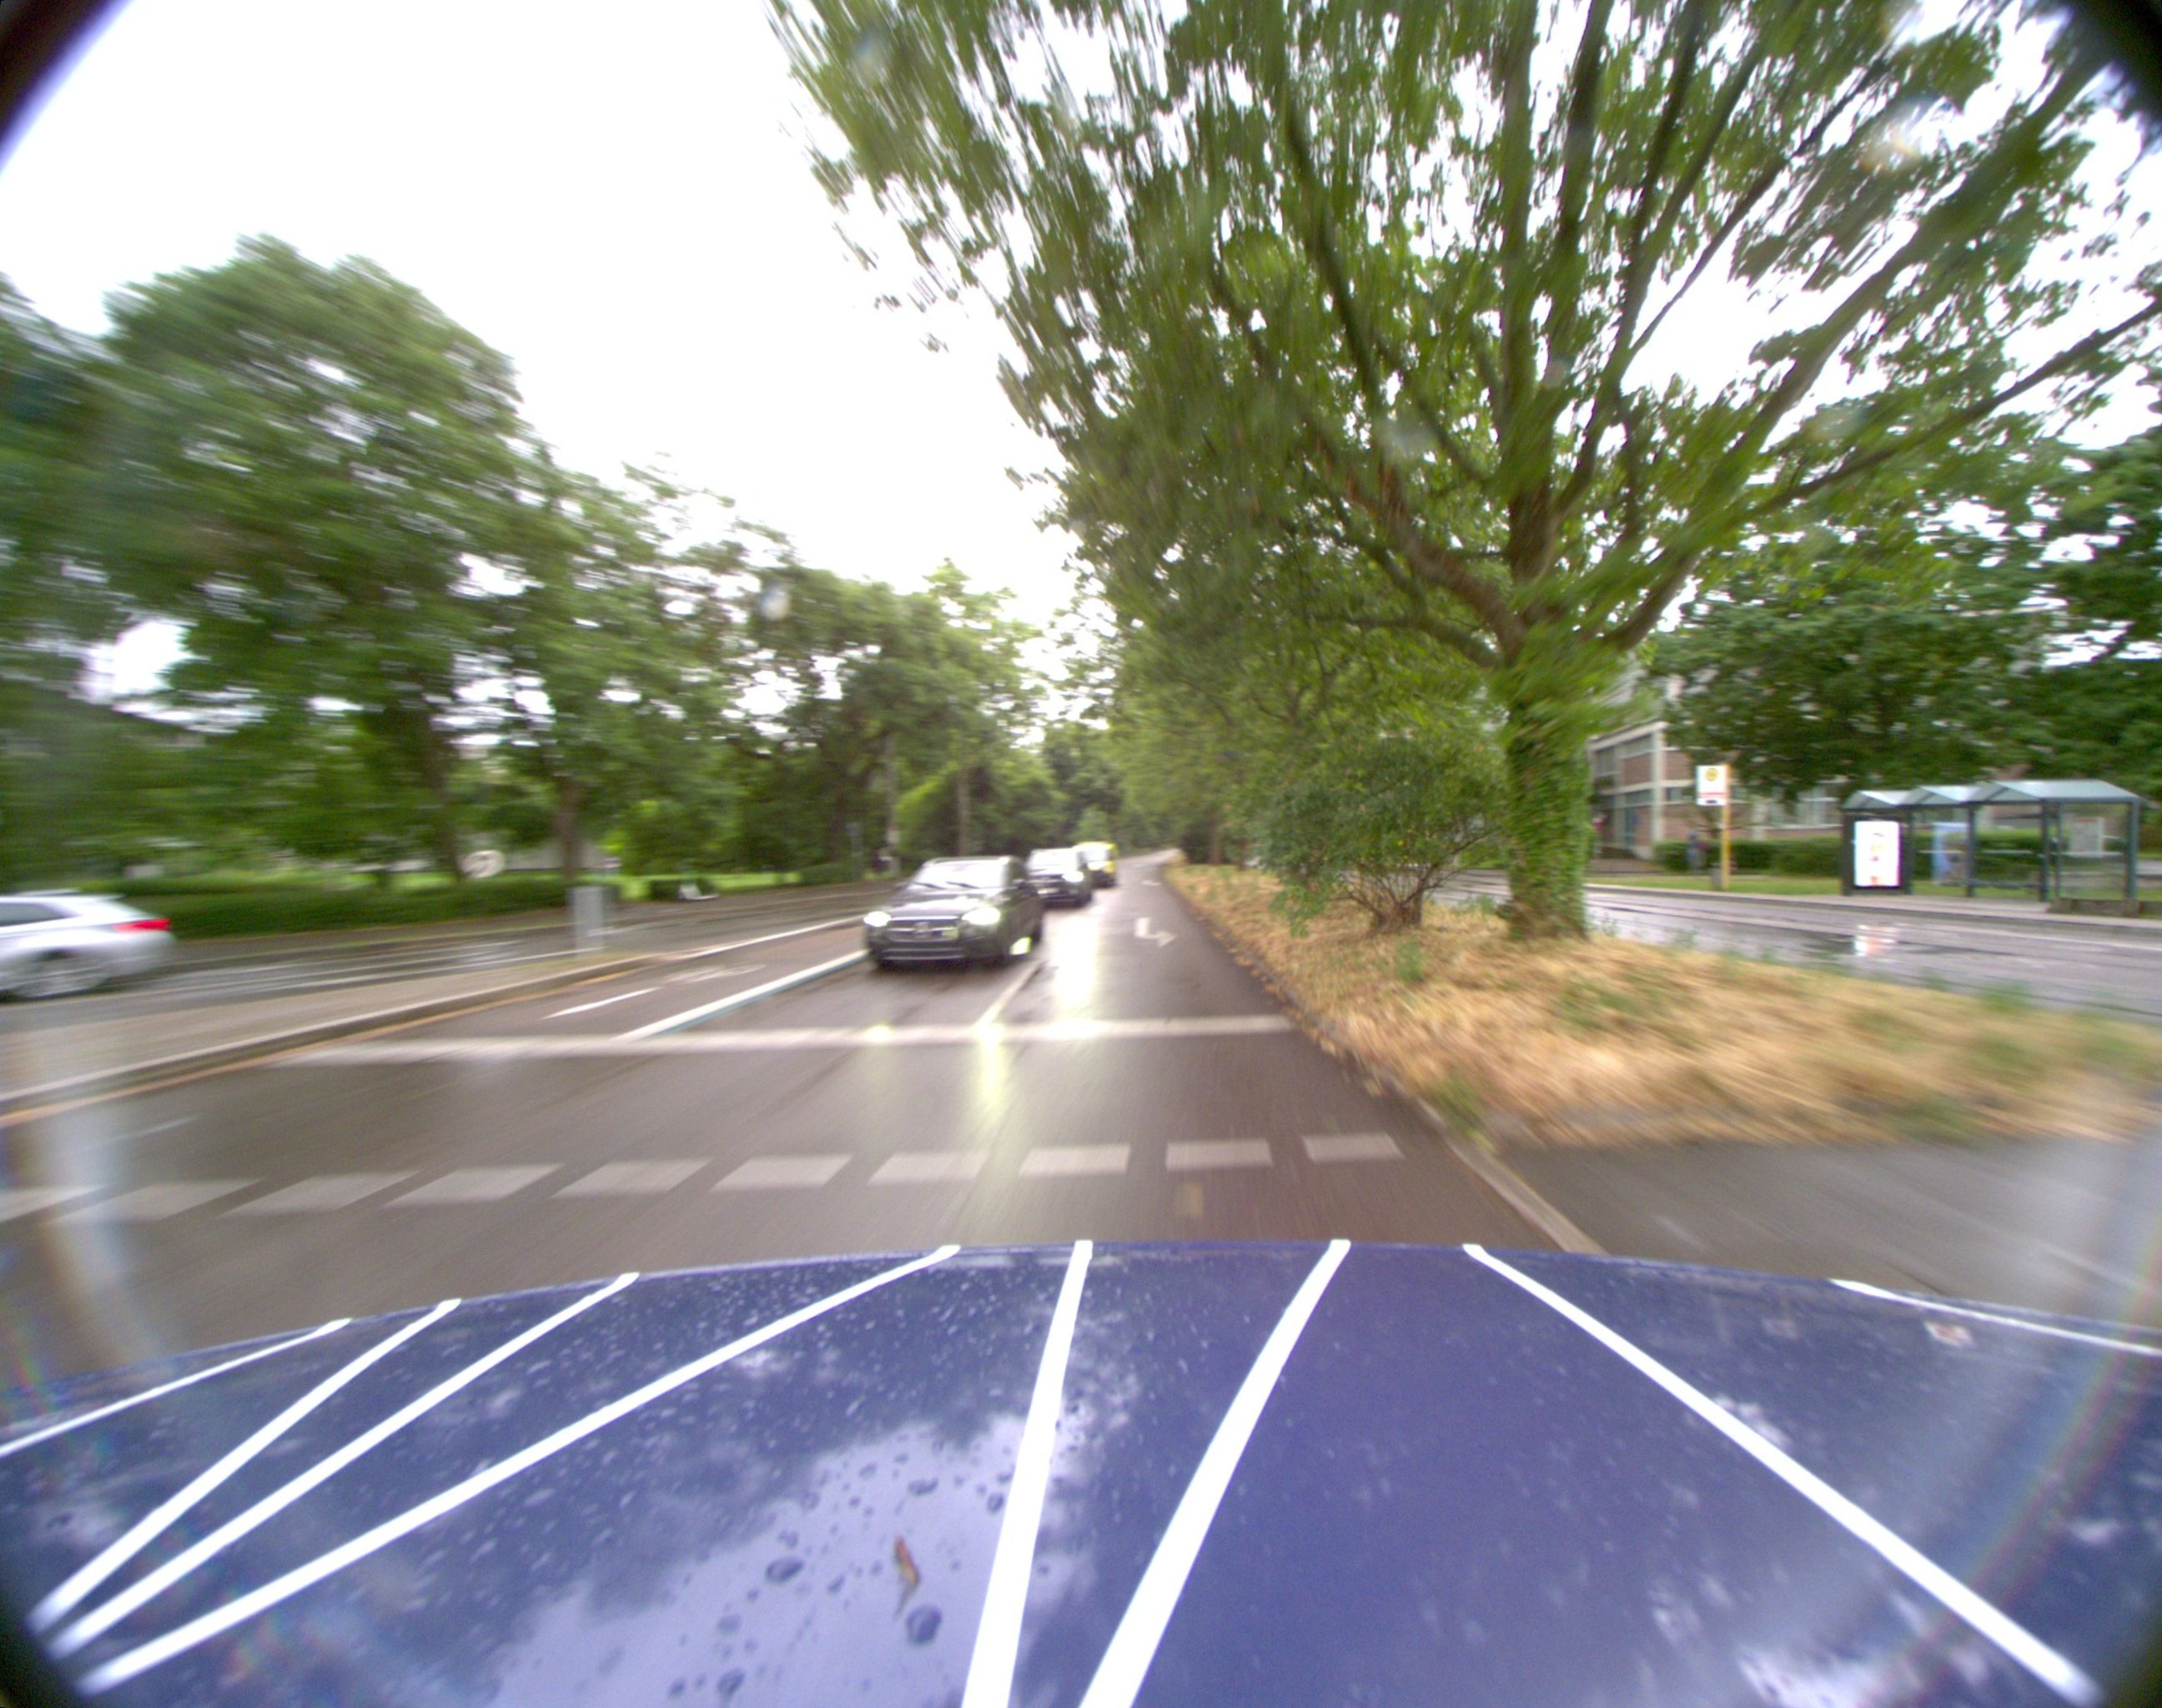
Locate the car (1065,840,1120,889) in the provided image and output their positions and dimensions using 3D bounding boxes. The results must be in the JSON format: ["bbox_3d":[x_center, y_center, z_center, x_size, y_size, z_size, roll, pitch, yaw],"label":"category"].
[{"bbox_3d":[0.594,0.386,32.966,1.883,1.865,4.743,-3,1,6],"label":"car"}]

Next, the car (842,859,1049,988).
[{"bbox_3d":[-1.758,0.873,11.686,1.883,1.437,4.931,-1,1,5],"label":"car"}]

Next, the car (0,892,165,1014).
[{"bbox_3d":[-14.818,1.327,9.188,1.863,1.441,4.411,-1,1,26],"label":"car"}]

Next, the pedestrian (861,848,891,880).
[{"bbox_3d":[-10.798,0.511,40.053,1.060,1.597,1.068,-5,3,-44],"label":"pedestrian"}]

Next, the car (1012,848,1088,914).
[{"bbox_3d":[-0.785,0.685,22.139,1.833,1.599,4.576,-2,1,1],"label":"car"}]

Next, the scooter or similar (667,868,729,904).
[{"bbox_3d":[-12.878,1.046,25.597,0.556,1.095,1.894,2,1,26],"label":"scooter or similar"}]
